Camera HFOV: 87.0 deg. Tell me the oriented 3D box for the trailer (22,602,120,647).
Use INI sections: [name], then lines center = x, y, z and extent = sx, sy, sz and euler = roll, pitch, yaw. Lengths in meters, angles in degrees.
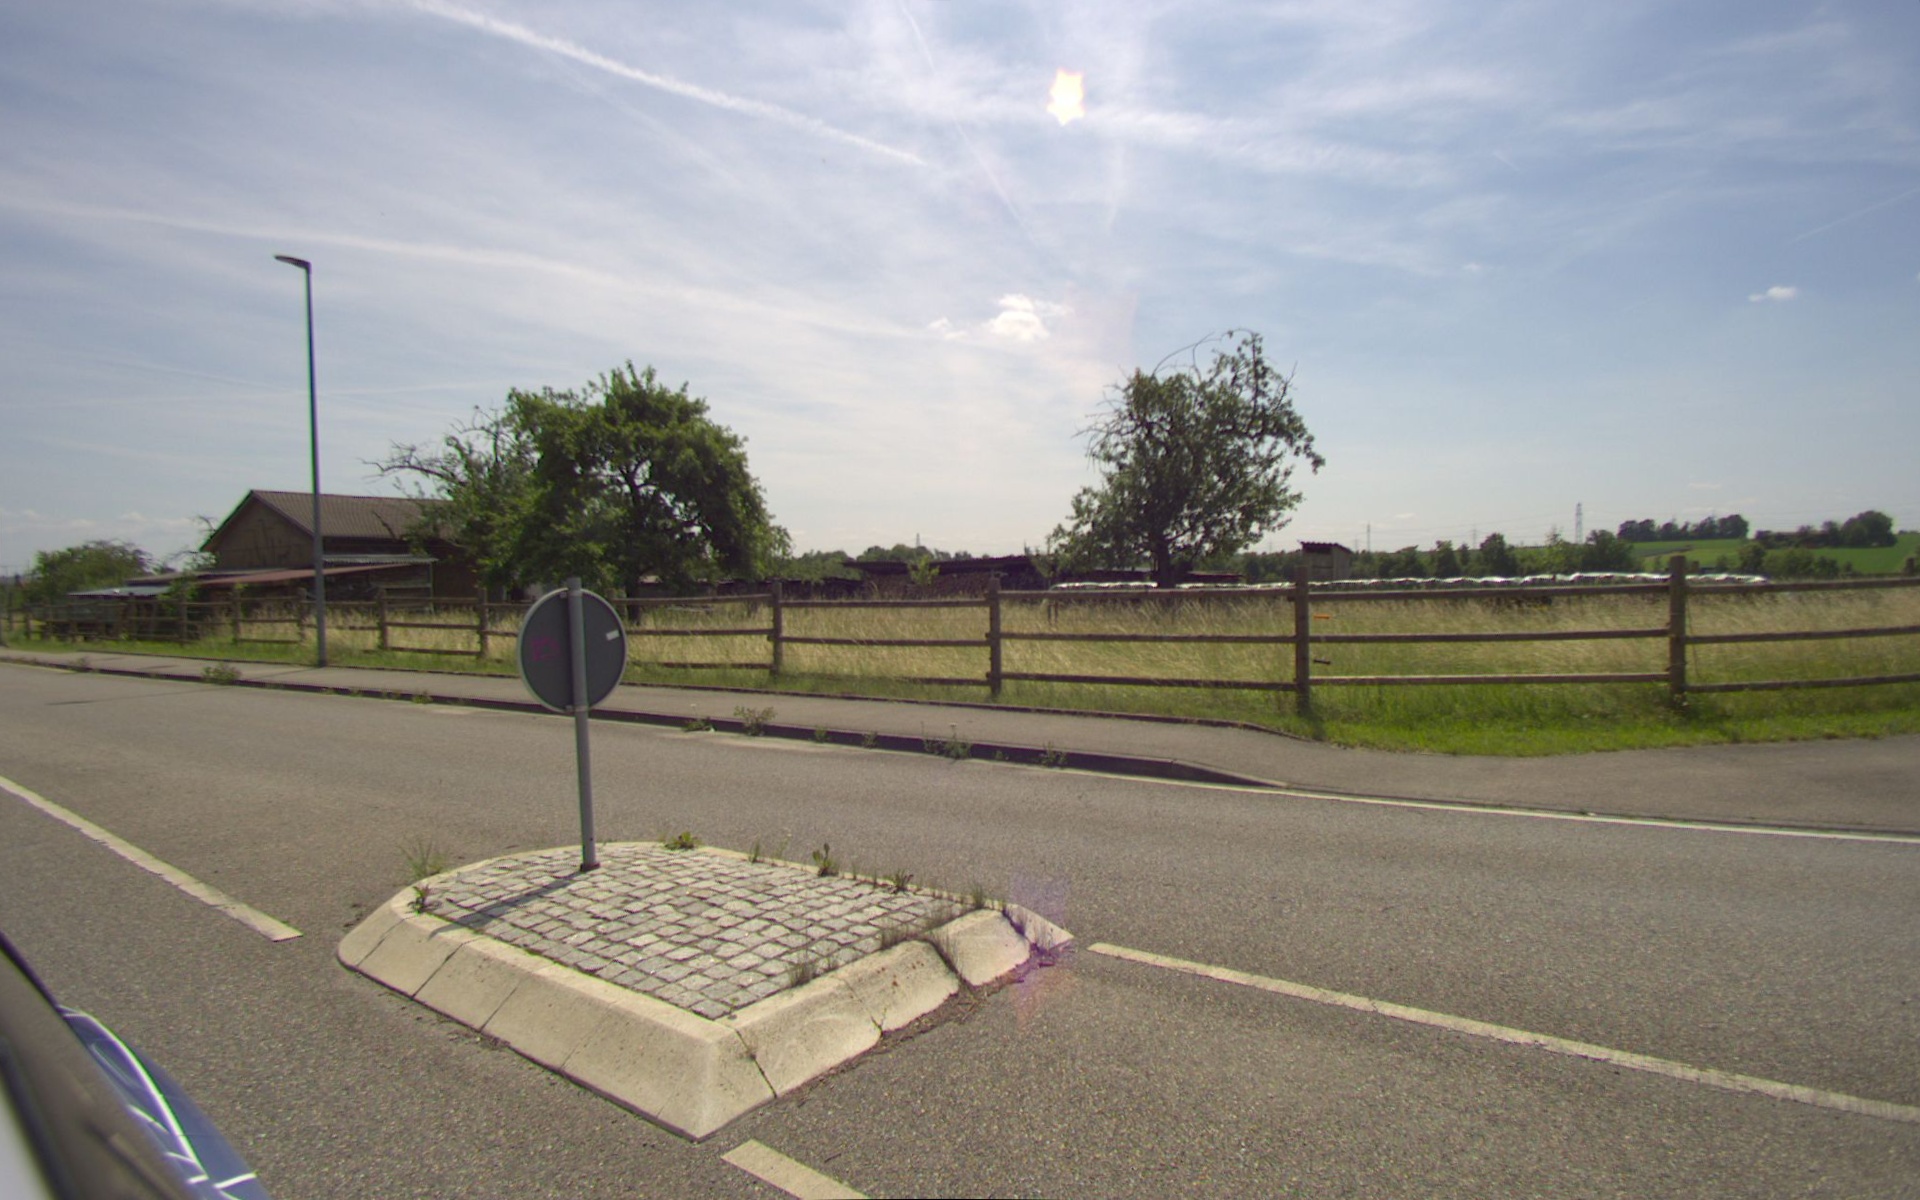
[trailer]
center = -35.667, 0.953, 40.549
extent = 5.023, 1.716, 2.134
euler = -1, -1, 39
